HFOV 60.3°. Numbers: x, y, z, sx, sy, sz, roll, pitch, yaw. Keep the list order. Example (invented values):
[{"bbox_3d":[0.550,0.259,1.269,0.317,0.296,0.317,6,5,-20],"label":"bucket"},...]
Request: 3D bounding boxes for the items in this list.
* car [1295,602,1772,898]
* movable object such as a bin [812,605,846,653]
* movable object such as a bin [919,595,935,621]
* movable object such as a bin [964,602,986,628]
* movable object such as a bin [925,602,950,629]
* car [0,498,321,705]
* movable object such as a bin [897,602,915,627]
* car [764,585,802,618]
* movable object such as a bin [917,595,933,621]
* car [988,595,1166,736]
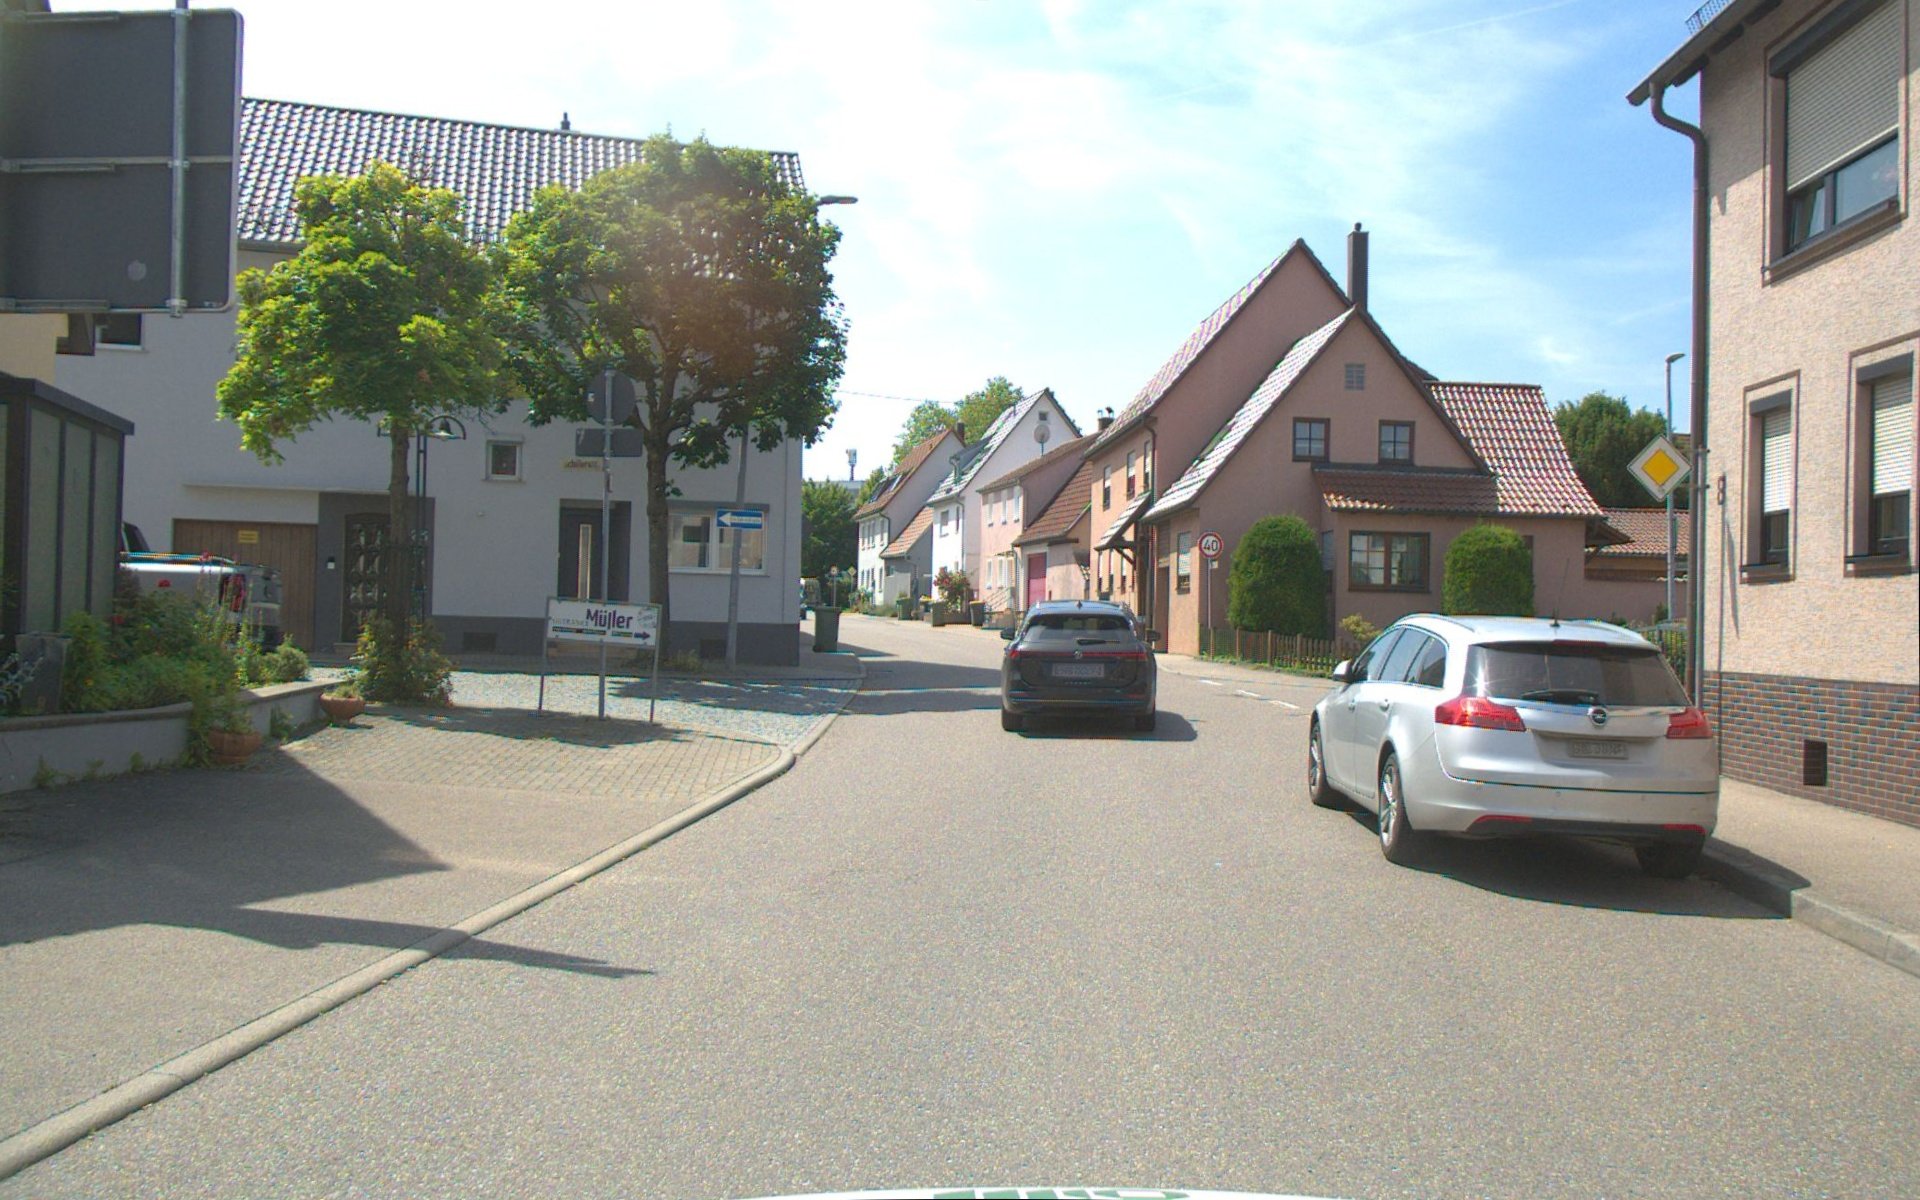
[{"bbox_3d":[3.473,0.797,10.932,1.748,1.467,4.338,2,0,2],"label":"car"},{"bbox_3d":[-3.044,0.663,38.287,0.739,1.079,0.679,2,0,-6],"label":"movable object such as a bin"},{"bbox_3d":[-1.578,0.390,79.711,0.653,1.215,0.586,2,0,-13],"label":"movable object such as a bin"},{"bbox_3d":[0.644,0.648,70.609,0.667,1.068,0.831,-3,1,-16],"label":"movable object such as a bin"},{"bbox_3d":[-0.976,0.659,71.503,0.862,1.093,0.869,-3,1,-17],"label":"movable object such as a bin"},{"bbox_3d":[-9.412,-0.019,16.817,5.010,1.929,2.171,1,0,-8],"label":"car"},{"bbox_3d":[-2.642,0.710,80.630,0.667,1.175,0.816,2,0,-16],"label":"movable object such as a bin"},{"bbox_3d":[-8.767,0.065,81.691,1.766,1.583,4.064,0,1,-8],"label":"car"},{"bbox_3d":[-1.709,0.396,80.560,0.653,1.215,0.658,2,0,-13],"label":"movable object such as a bin"},{"bbox_3d":[1.532,0.694,20.032,1.802,1.445,4.686,-1,1,8],"label":"car"}]
